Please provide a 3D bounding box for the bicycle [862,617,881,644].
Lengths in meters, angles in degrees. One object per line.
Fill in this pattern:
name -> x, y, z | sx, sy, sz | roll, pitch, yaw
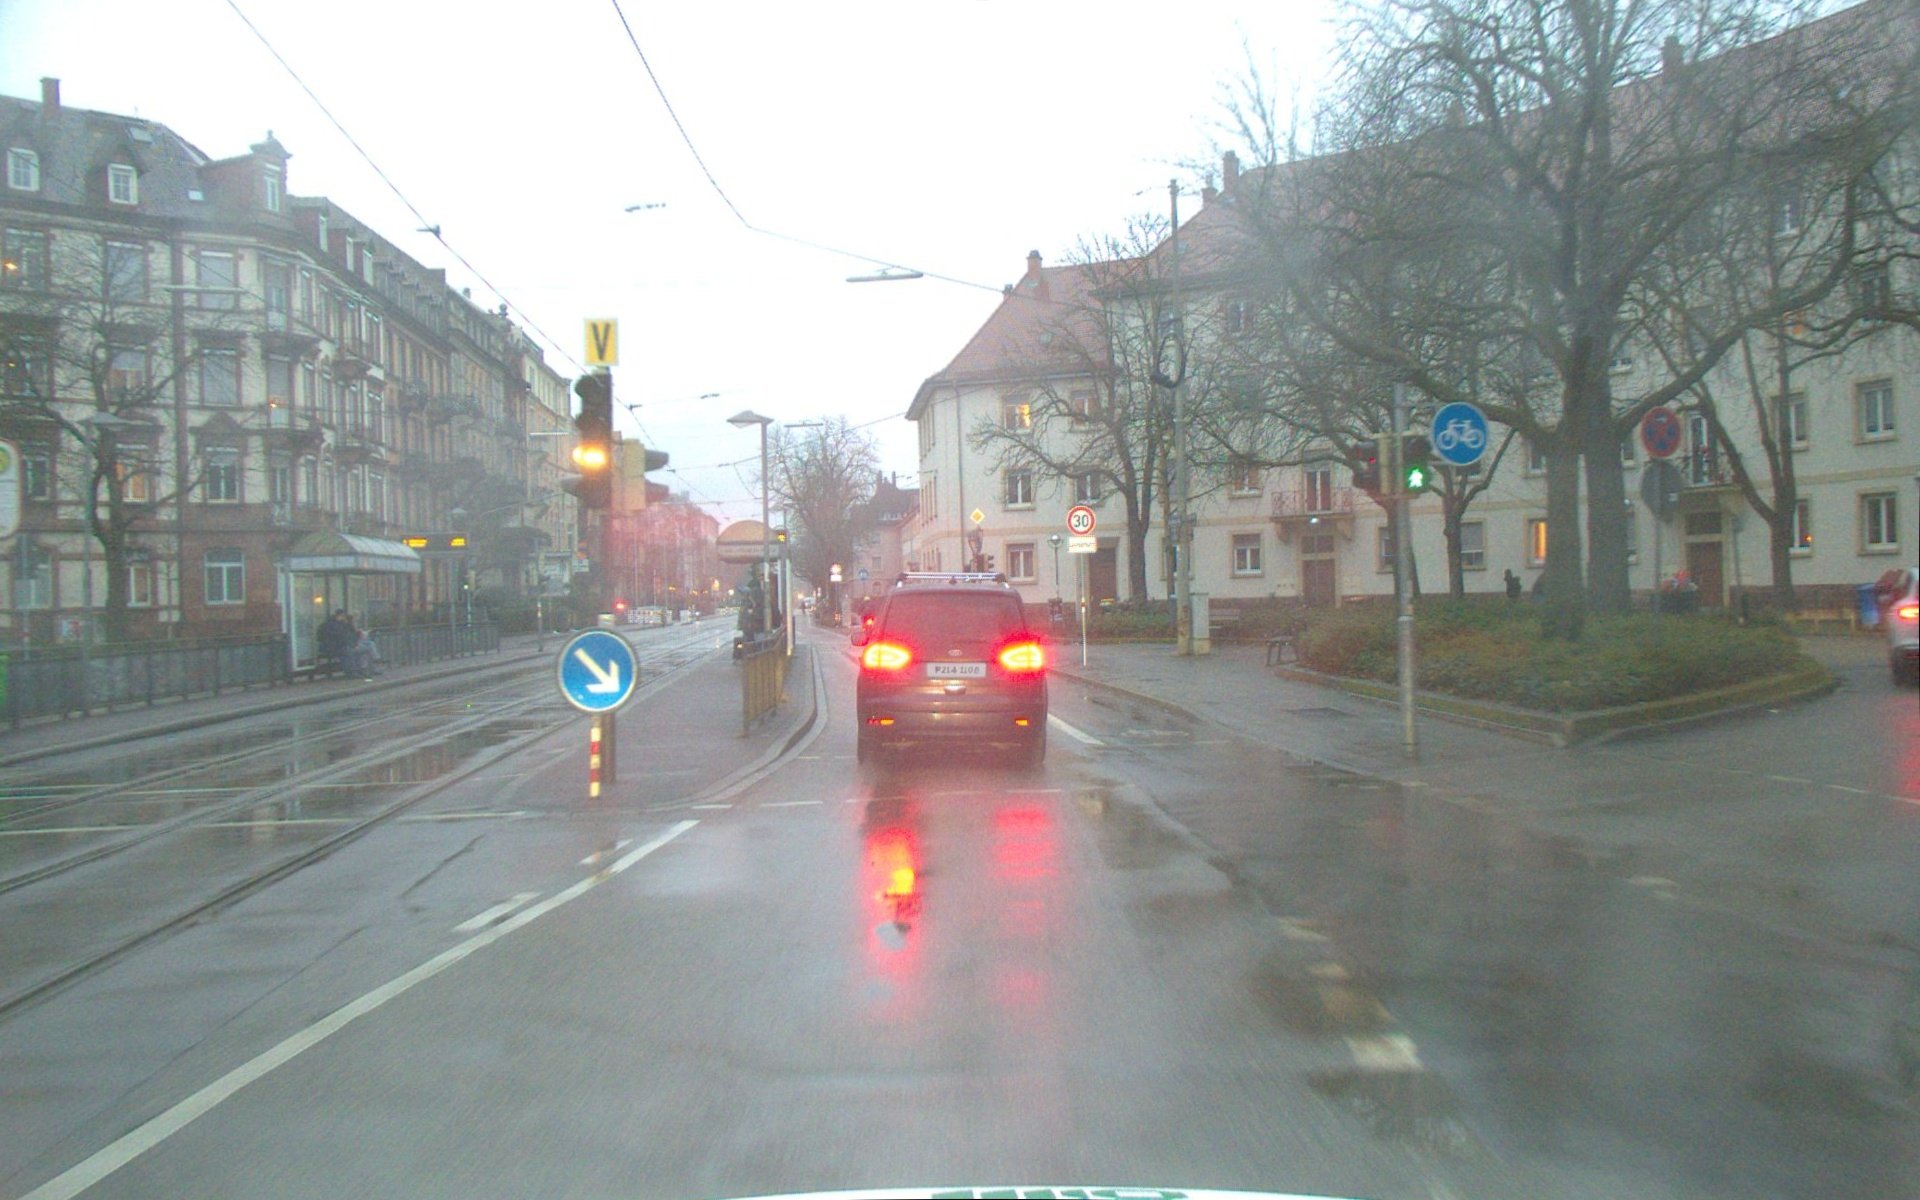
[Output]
bicycle -> -3.462, 1.172, 64.542 | 0.717, 1.024, 1.762 | -1, 0, -4

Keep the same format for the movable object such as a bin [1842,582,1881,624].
movable object such as a bin -> 21.849, 0.078, 40.089 | 0.518, 0.998, 0.648 | -2, 0, -18

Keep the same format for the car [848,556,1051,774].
car -> -0.220, 0.589, 16.690 | 1.766, 1.903, 4.015 | 1, 0, -4

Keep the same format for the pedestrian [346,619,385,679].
pedestrian -> -12.669, 1.039, 35.247 | 0.640, 1.240, 0.516 | 1, -1, -6

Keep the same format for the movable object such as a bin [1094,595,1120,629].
movable object such as a bin -> 5.551, 0.463, 62.475 | 0.837, 1.273, 0.520 | 1, -1, 37

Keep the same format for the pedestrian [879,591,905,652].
pedestrian -> -2.207, 0.694, 53.649 | 0.700, 1.951, 0.689 | 1, -1, 6

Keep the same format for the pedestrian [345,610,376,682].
pedestrian -> -12.202, 0.931, 33.663 | 0.464, 1.428, 0.453 | 1, -1, -6

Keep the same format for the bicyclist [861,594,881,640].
bicyclist -> -3.488, 0.660, 64.571 | 0.716, 1.767, 0.765 | -1, 0, -4

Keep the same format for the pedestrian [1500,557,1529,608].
pedestrian -> 18.789, -0.584, 56.009 | 0.701, 1.689, 0.685 | -2, 0, 37

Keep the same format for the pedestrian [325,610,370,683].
pedestrian -> -12.262, 0.926, 33.120 | 0.671, 1.428, 0.577 | 1, -1, -6

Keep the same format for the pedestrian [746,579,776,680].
pedestrian -> -4.068, 0.596, 33.781 | 0.546, 2.022, 0.570 | 1, -1, -5

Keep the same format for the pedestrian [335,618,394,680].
pedestrian -> -12.492, 1.019, 34.727 | 1.035, 1.276, 0.506 | 1, -1, -6

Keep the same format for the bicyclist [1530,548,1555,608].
bicyclist -> 19.027, -0.713, 54.009 | 0.457, 1.919, 0.679 | -2, 0, -5

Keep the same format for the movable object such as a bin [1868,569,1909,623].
movable object such as a bin -> 22.143, -0.097, 39.437 | 0.518, 1.250, 0.648 | -2, 0, -18

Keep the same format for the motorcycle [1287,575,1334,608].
motorcycle -> 12.697, -0.305, 59.945 | 0.565, 1.124, 1.579 | -5, 2, -41

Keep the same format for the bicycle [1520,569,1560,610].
bicycle -> 19.022, -0.347, 54.247 | 0.457, 1.314, 1.912 | -2, 0, -5

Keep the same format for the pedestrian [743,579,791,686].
pedestrian -> -3.648, 0.606, 31.257 | 0.837, 1.990, 0.570 | 1, -1, -5

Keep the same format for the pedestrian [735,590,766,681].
pedestrian -> -4.149, 0.697, 32.710 | 0.546, 1.771, 0.570 | 1, -1, -5

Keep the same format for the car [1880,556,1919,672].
car -> 14.581, 0.232, 23.473 | 1.864, 1.536, 4.730 | 1, 0, 39
